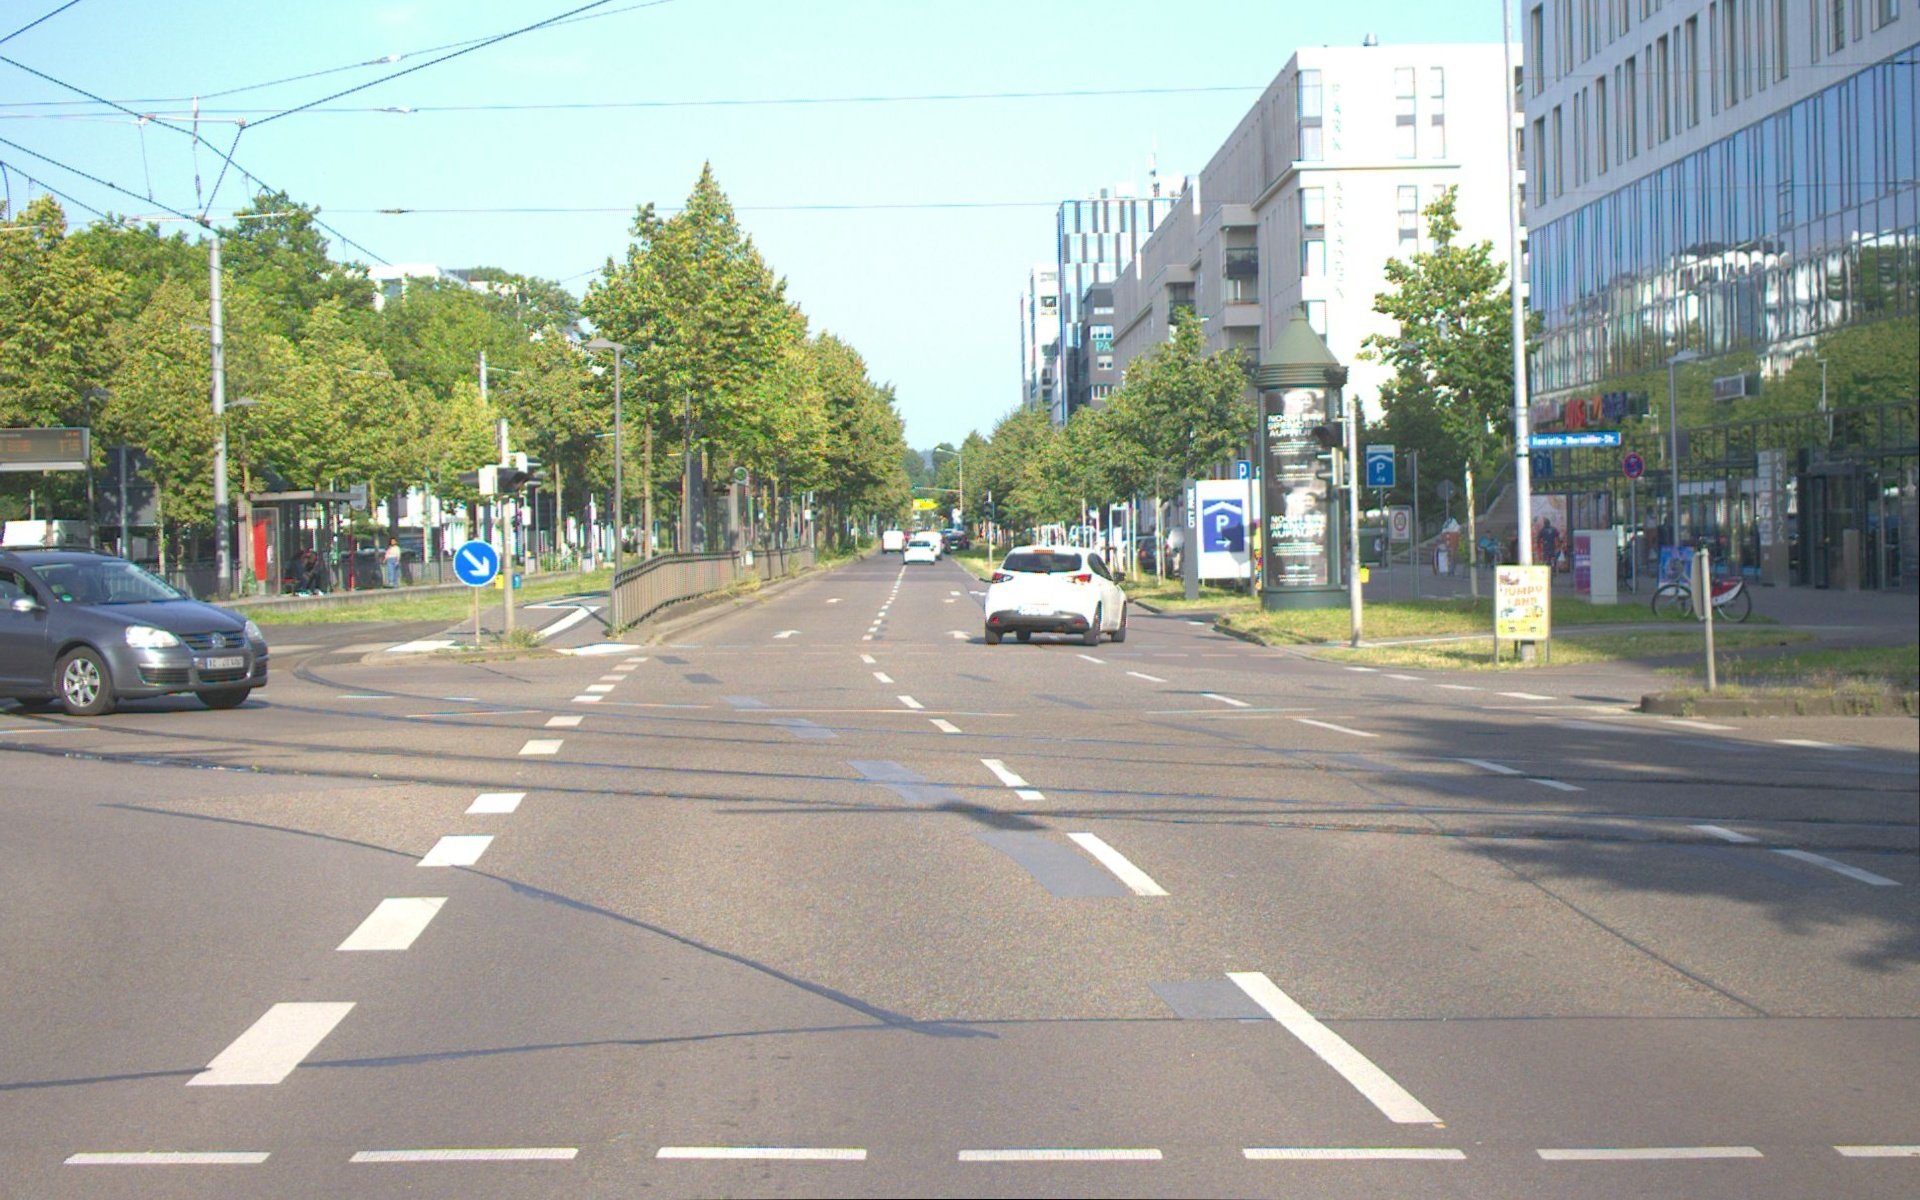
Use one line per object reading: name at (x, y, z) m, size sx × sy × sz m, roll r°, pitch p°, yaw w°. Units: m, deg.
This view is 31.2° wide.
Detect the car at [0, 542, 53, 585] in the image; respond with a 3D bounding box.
car at (-35.688, -1.368, 129.088) m, size 1.881 × 1.554 × 3.999 m, roll -1°, pitch 1°, yaw 5°

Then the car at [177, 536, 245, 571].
car at (-33.938, -2.117, 155.928) m, size 1.881 × 1.554 × 3.999 m, roll -1°, pitch 1°, yaw 5°

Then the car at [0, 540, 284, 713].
car at (-8.283, 0.197, 31.015) m, size 4.570 × 1.456 × 1.730 m, roll 1°, pitch 1°, yaw 38°

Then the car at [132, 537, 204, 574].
car at (-34.412, -1.945, 149.506) m, size 1.881 × 1.554 × 3.999 m, roll -1°, pitch 1°, yaw 5°

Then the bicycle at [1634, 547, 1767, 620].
bicycle at (11.400, -0.263, 52.950) m, size 0.771 × 1.028 × 1.878 m, roll -2°, pitch 4°, yaw -44°

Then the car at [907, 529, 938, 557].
car at (-2.391, -3.661, 220.135) m, size 1.864 × 1.678 × 4.000 m, roll 1°, pitch 2°, yaw 0°

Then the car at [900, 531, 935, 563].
car at (-2.336, -2.923, 189.428) m, size 1.864 × 1.678 × 4.000 m, roll 1°, pitch 2°, yaw 0°

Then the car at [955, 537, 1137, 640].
car at (1.354, -0.184, 52.193) m, size 1.995 × 1.499 × 4.091 m, roll 0°, pitch 1°, yaw 13°

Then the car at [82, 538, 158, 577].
car at (-35.046, -1.785, 143.498) m, size 1.881 × 1.554 × 3.999 m, roll -1°, pitch 1°, yaw 5°
